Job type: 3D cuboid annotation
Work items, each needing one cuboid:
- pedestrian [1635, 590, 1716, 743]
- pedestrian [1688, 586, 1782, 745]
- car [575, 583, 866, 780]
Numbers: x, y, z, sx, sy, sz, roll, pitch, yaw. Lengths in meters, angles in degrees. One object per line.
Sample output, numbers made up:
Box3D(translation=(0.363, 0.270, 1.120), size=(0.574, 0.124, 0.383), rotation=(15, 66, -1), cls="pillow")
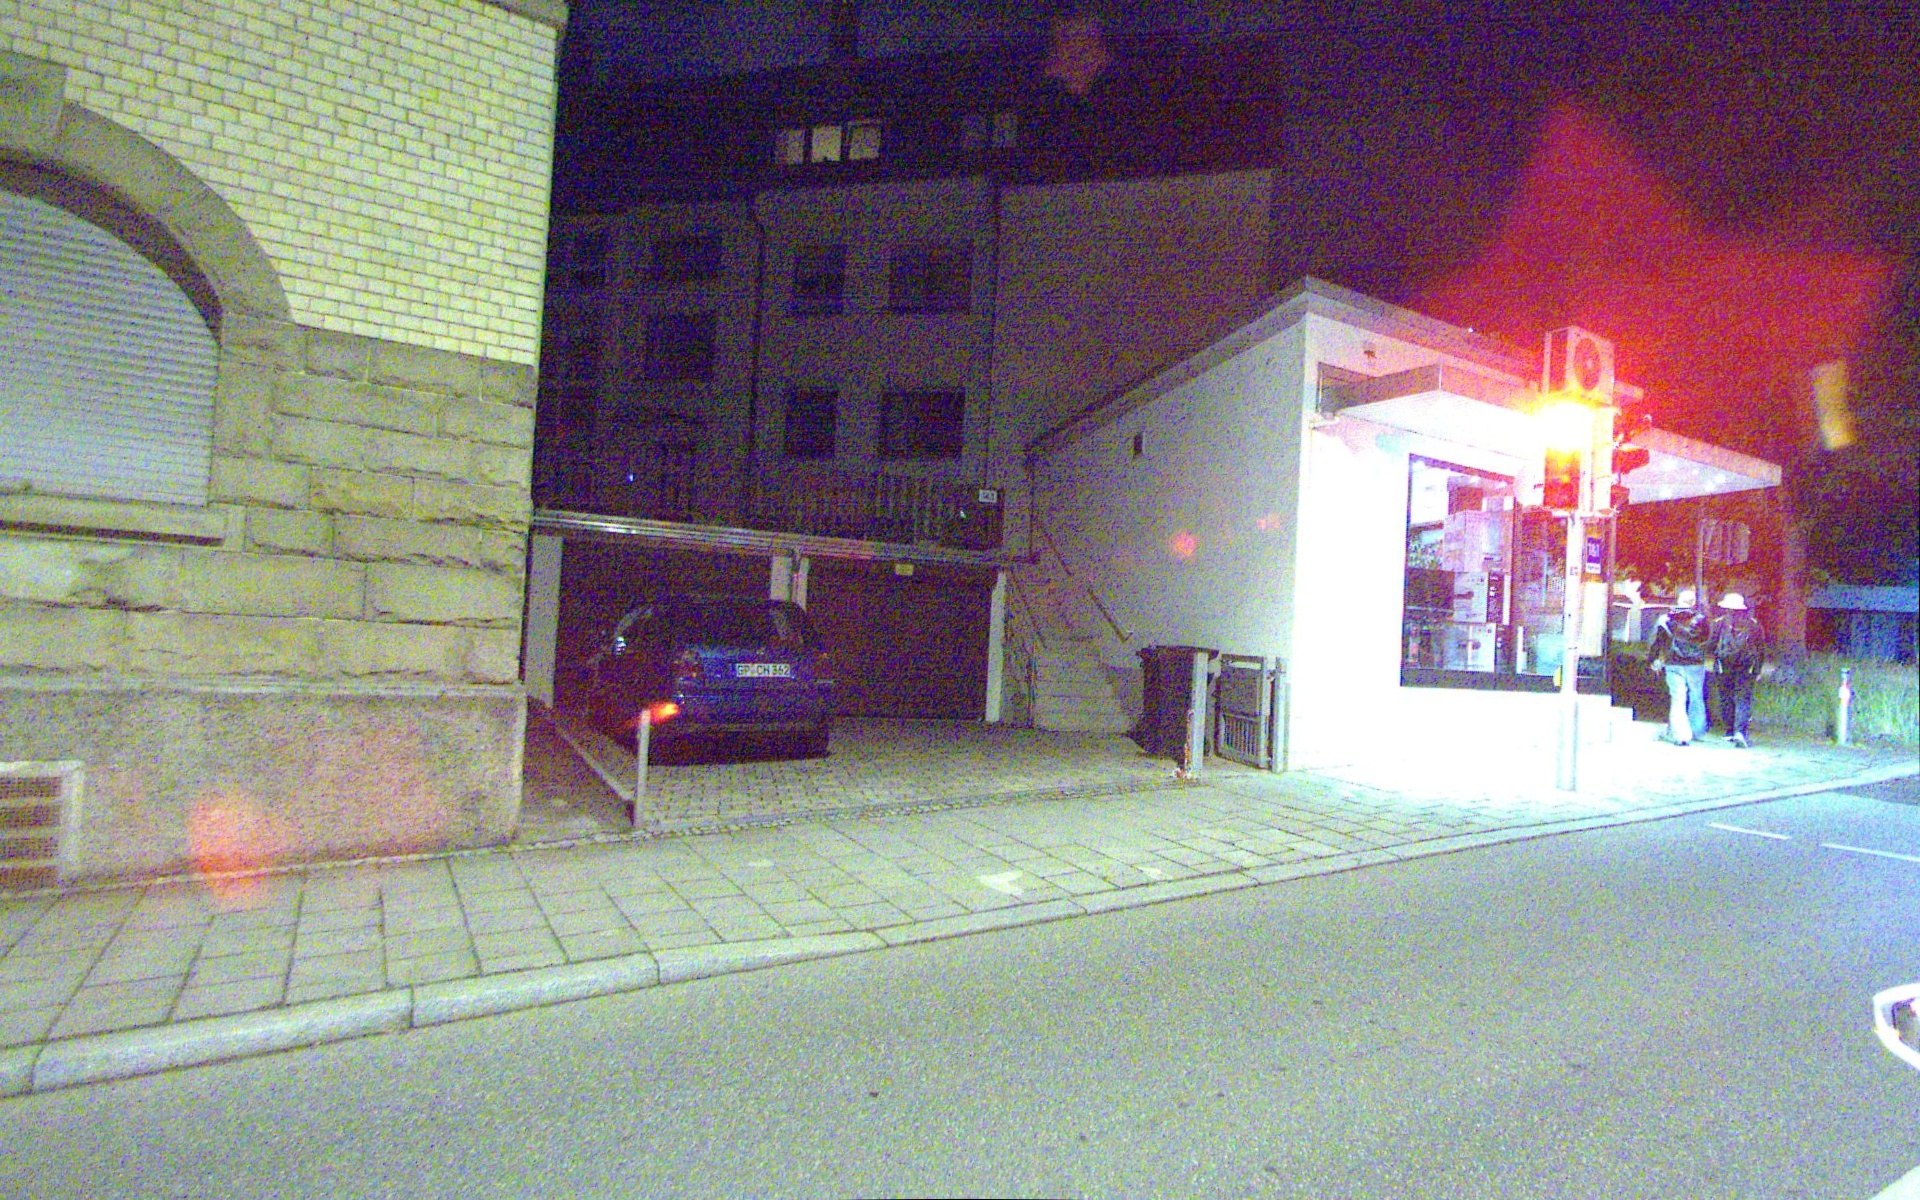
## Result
Box3D(translation=(8.439, 0.765, 11.854), size=(0.537, 1.754, 0.567), rotation=(2, 0, -30), cls="pedestrian")
Box3D(translation=(9.153, 0.752, 11.869), size=(0.729, 1.801, 0.567), rotation=(2, 2, -30), cls="pedestrian")
Box3D(translation=(-2.447, 0.613, 9.573), size=(1.700, 1.460, 3.631), rotation=(2, 0, -30), cls="car")
